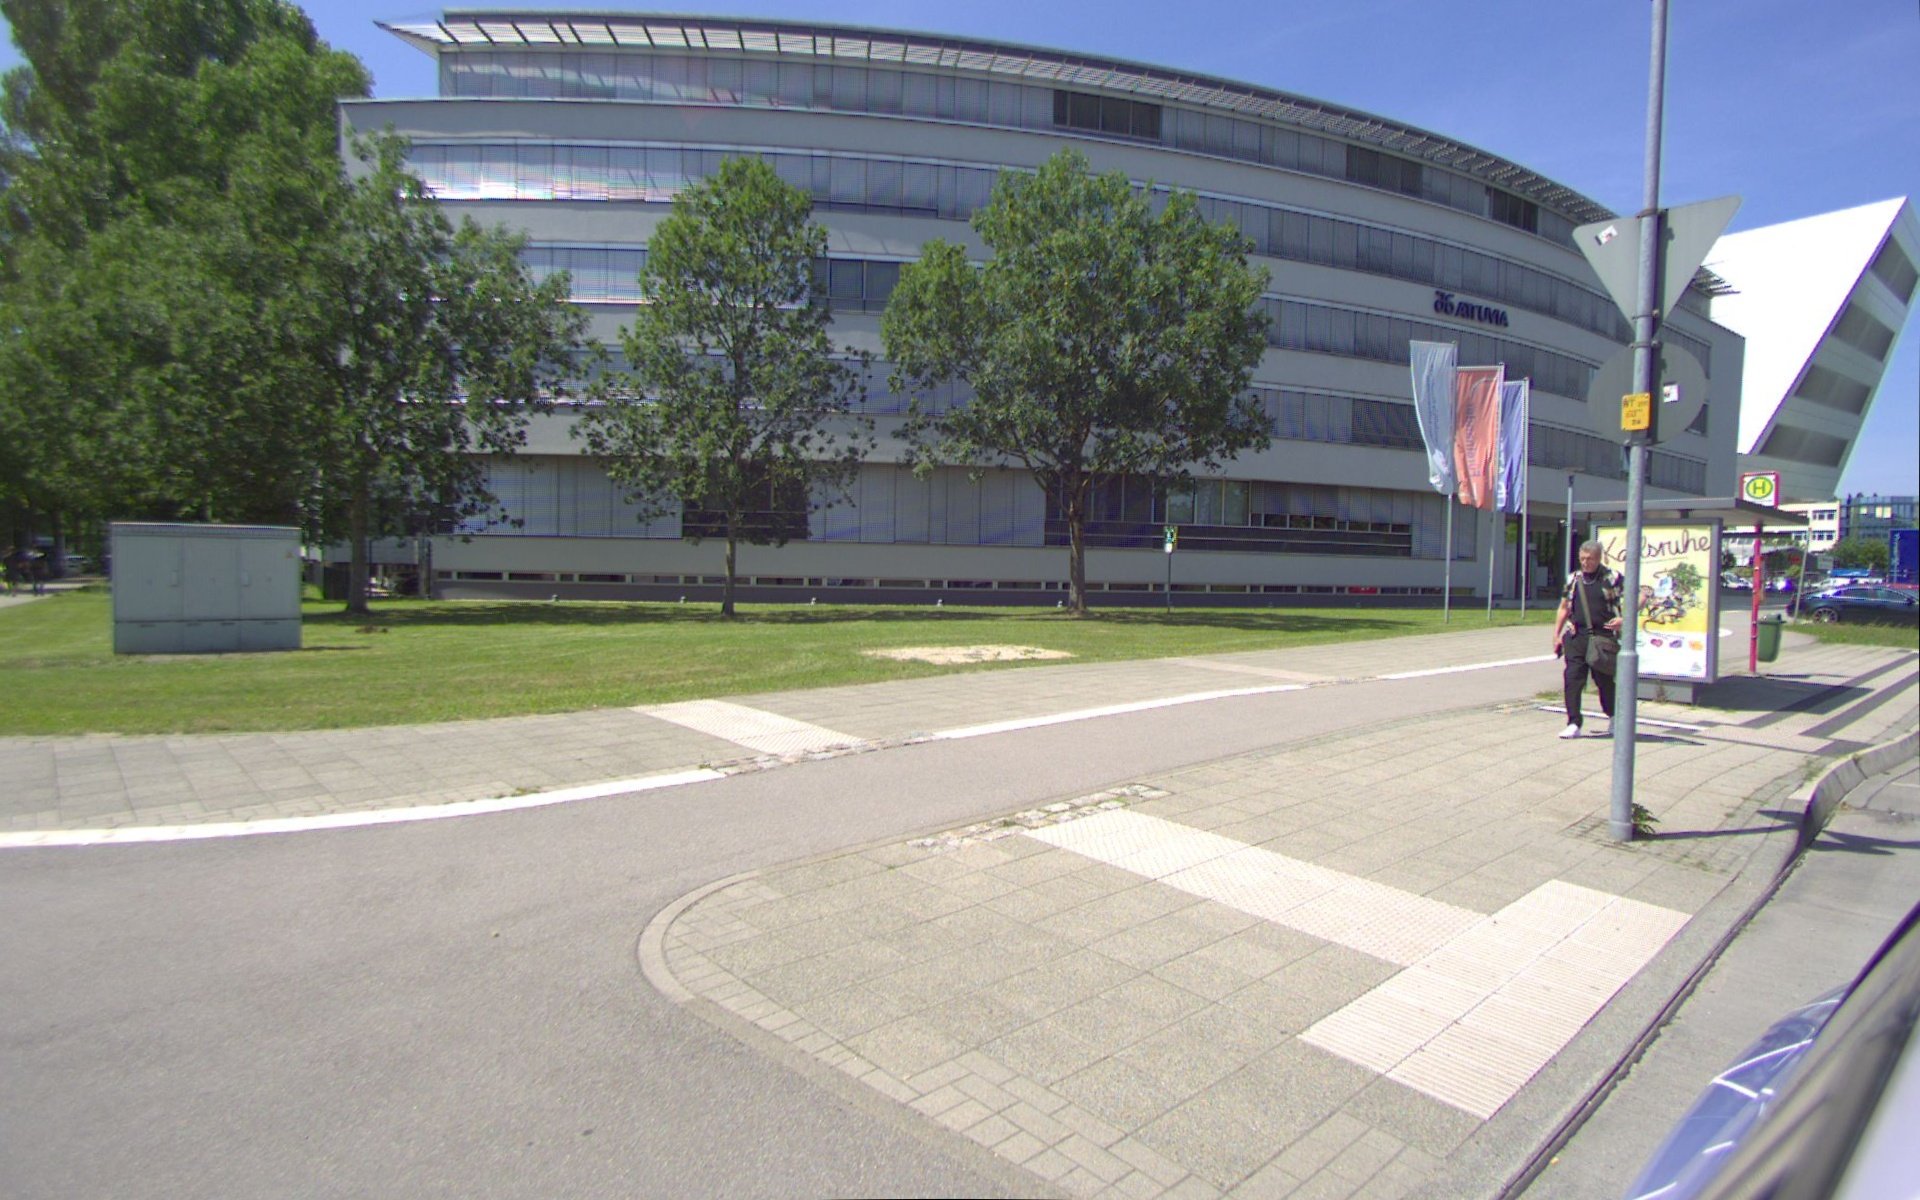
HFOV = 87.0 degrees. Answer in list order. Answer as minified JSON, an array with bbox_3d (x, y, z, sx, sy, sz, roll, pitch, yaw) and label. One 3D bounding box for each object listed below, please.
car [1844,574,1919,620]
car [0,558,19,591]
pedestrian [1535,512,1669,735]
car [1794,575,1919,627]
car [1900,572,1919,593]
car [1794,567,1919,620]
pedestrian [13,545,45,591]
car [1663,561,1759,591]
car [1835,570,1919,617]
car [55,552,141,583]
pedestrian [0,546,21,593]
[{"bbox_3d":[33.502,-0.078,35.255,1.626,1.504,3.817,-1,4,-40],"label":"car"},{"bbox_3d":[-45.657,-1.154,46.365,3.622,1.501,1.866,-1,2,-42],"label":"car"},{"bbox_3d":[5.658,0.172,8.921,0.812,1.844,0.709,-1,4,-42],"label":"pedestrian"},{"bbox_3d":[29.762,0.030,32.355,1.798,1.449,4.572,-1,5,-44],"label":"car"},{"bbox_3d":[99.989,-1.759,102.716,2.124,2.176,6.499,-1,1,-36],"label":"car"},{"bbox_3d":[31.307,-0.240,34.624,1.807,1.675,3.996,-1,3,-40],"label":"car"},{"bbox_3d":[-32.875,-1.124,35.740,0.631,1.628,0.573,0,1,-11],"label":"pedestrian"},{"bbox_3d":[71.284,-2.265,96.229,2.210,2.695,6.976,-1,1,-32],"label":"car"},{"bbox_3d":[35.077,-0.203,37.063,1.755,1.582,4.330,-1,4,-41],"label":"car"},{"bbox_3d":[-57.160,-2.138,67.181,3.919,2.039,2.003,0,1,-7],"label":"car"},{"bbox_3d":[-33.000,-1.051,35.031,0.476,1.637,0.589,0,1,-13],"label":"pedestrian"}]
